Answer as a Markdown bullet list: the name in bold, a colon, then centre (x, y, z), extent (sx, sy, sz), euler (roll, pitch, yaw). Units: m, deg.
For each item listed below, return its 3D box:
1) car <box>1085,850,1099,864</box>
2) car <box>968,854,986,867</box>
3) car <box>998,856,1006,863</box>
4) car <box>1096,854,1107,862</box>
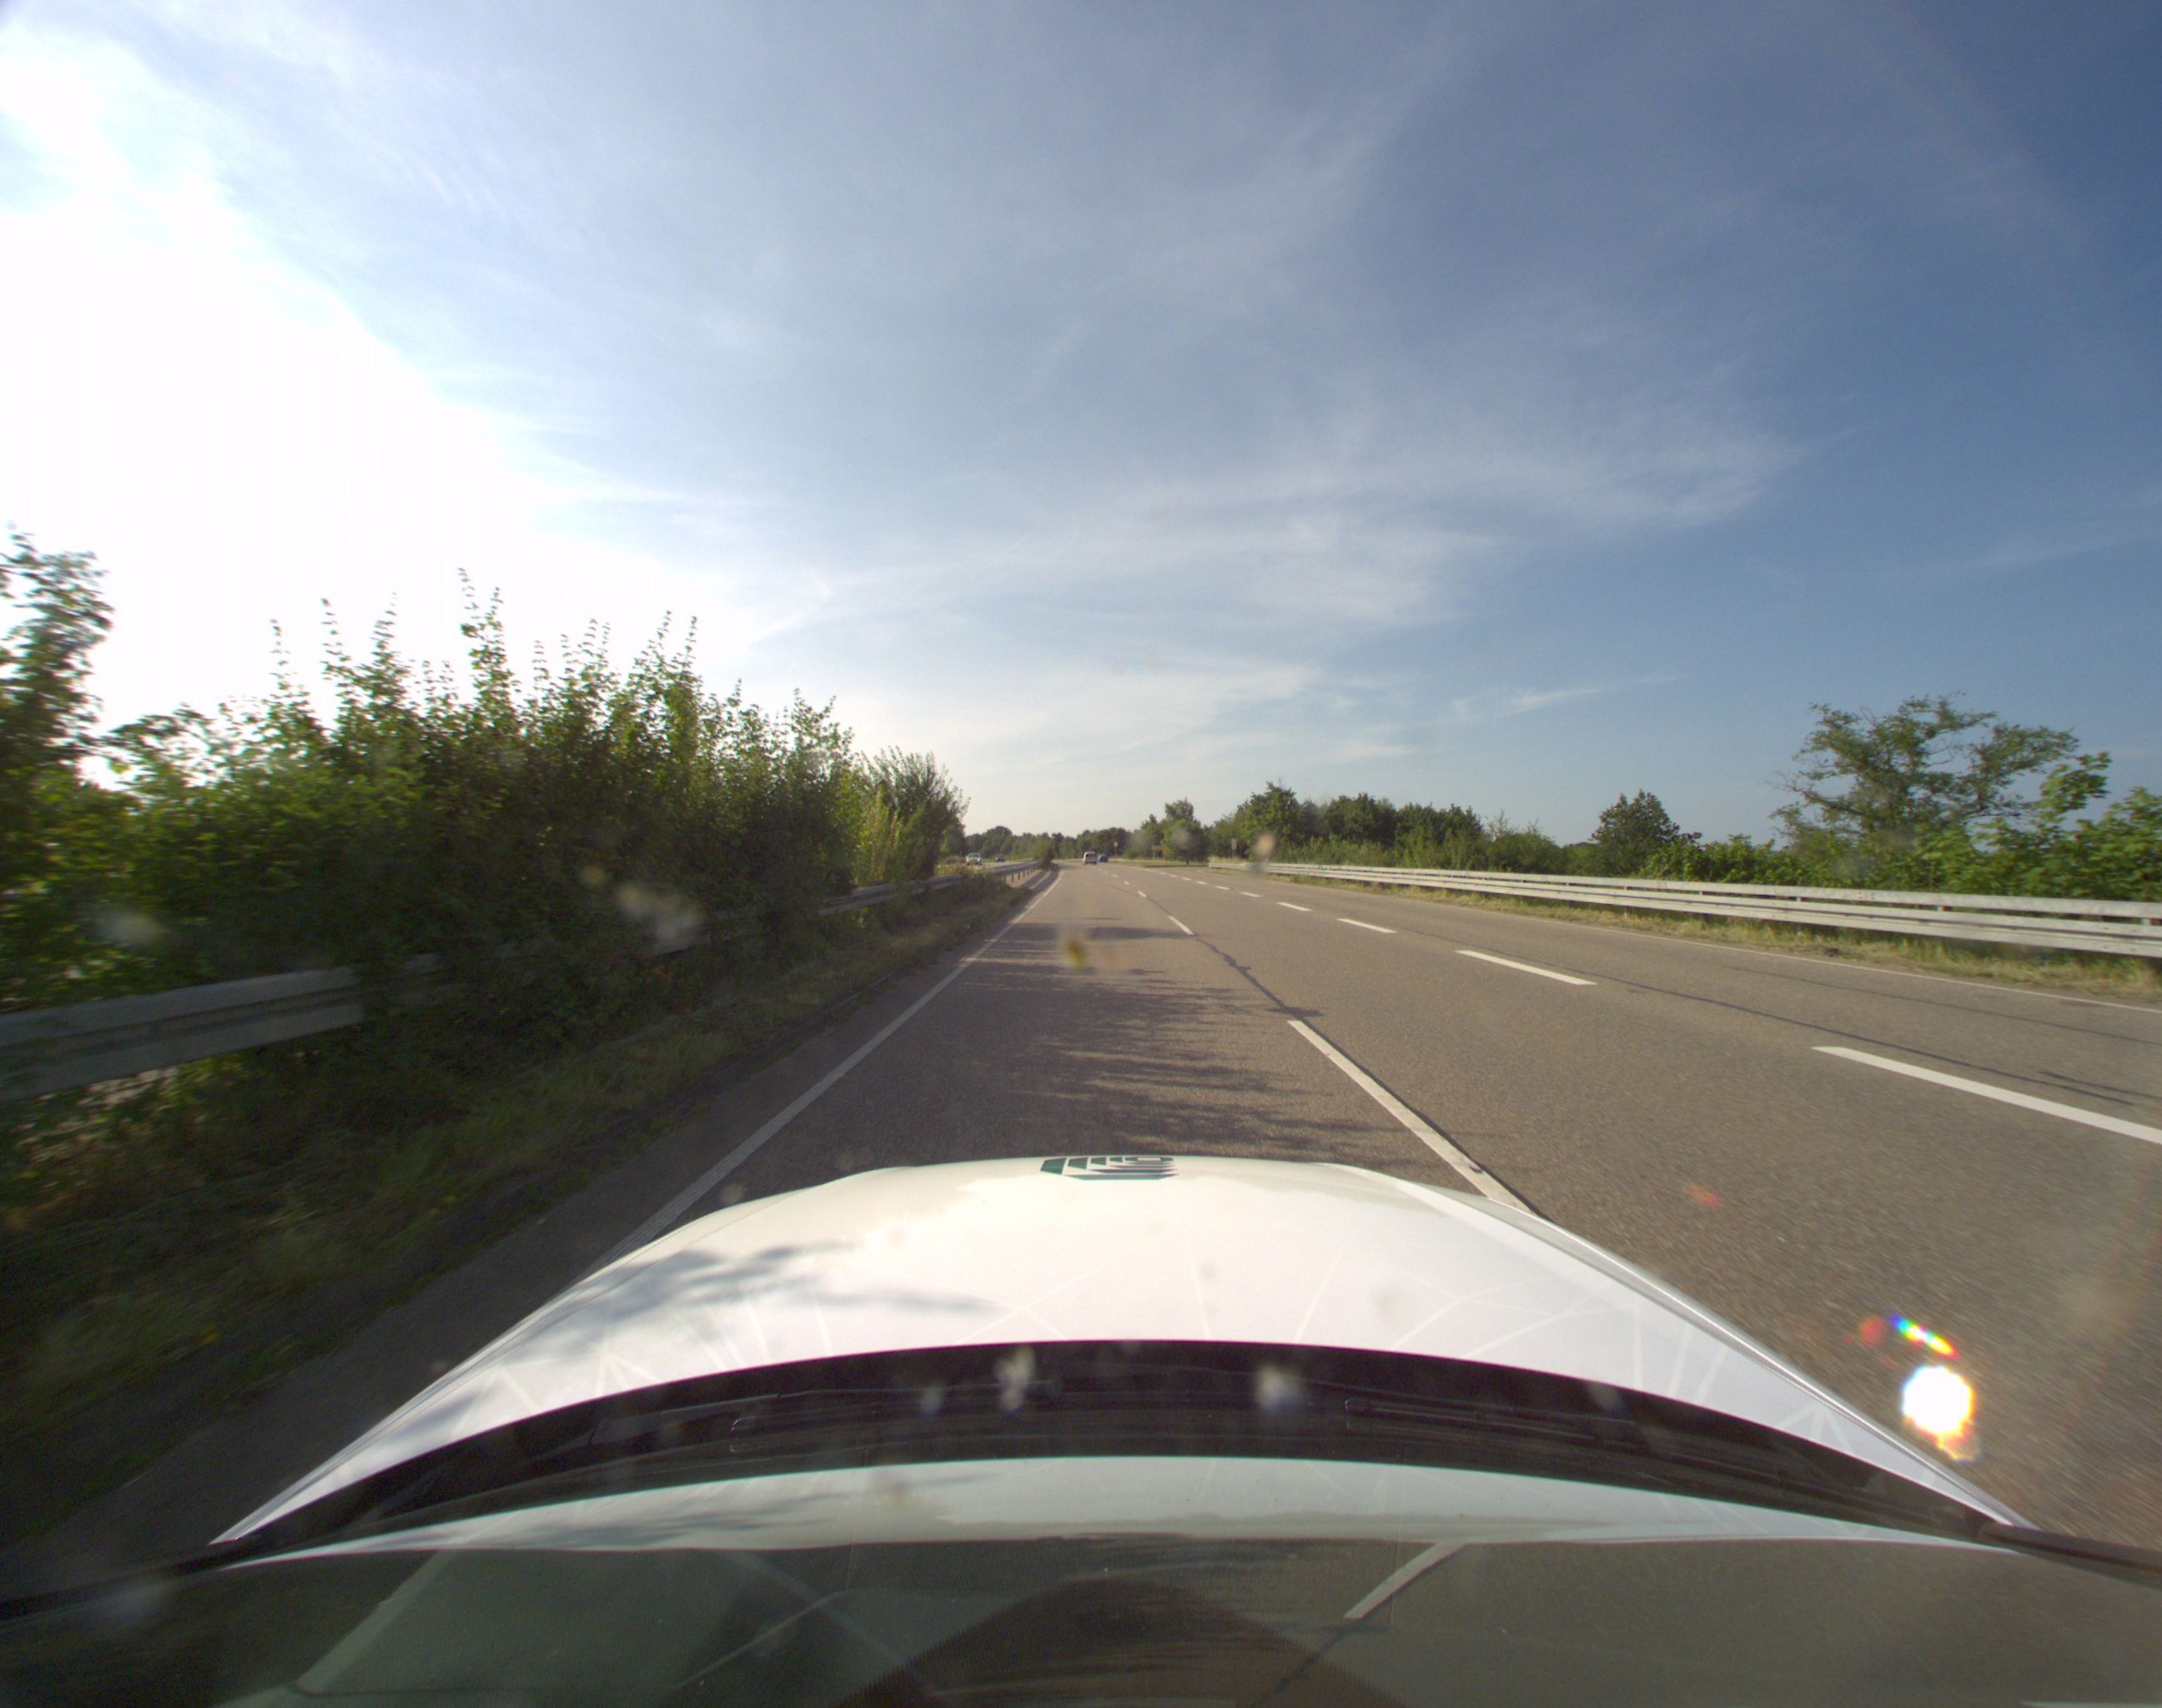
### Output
- **car**: centre (1.531, 0.456, 117.310), extent (1.761, 1.882, 3.997), euler (-1, -1, -2)
- **car**: centre (-12.217, 0.740, 96.035), extent (1.635, 1.421, 3.998), euler (0, -2, 0)
- **car**: centre (-15.621, 1.146, 161.217), extent (1.485, 1.298, 3.263), euler (-1, -1, -4)
- **car**: centre (3.908, 0.760, 153.826), extent (1.774, 1.452, 3.996), euler (-1, -2, -2)
